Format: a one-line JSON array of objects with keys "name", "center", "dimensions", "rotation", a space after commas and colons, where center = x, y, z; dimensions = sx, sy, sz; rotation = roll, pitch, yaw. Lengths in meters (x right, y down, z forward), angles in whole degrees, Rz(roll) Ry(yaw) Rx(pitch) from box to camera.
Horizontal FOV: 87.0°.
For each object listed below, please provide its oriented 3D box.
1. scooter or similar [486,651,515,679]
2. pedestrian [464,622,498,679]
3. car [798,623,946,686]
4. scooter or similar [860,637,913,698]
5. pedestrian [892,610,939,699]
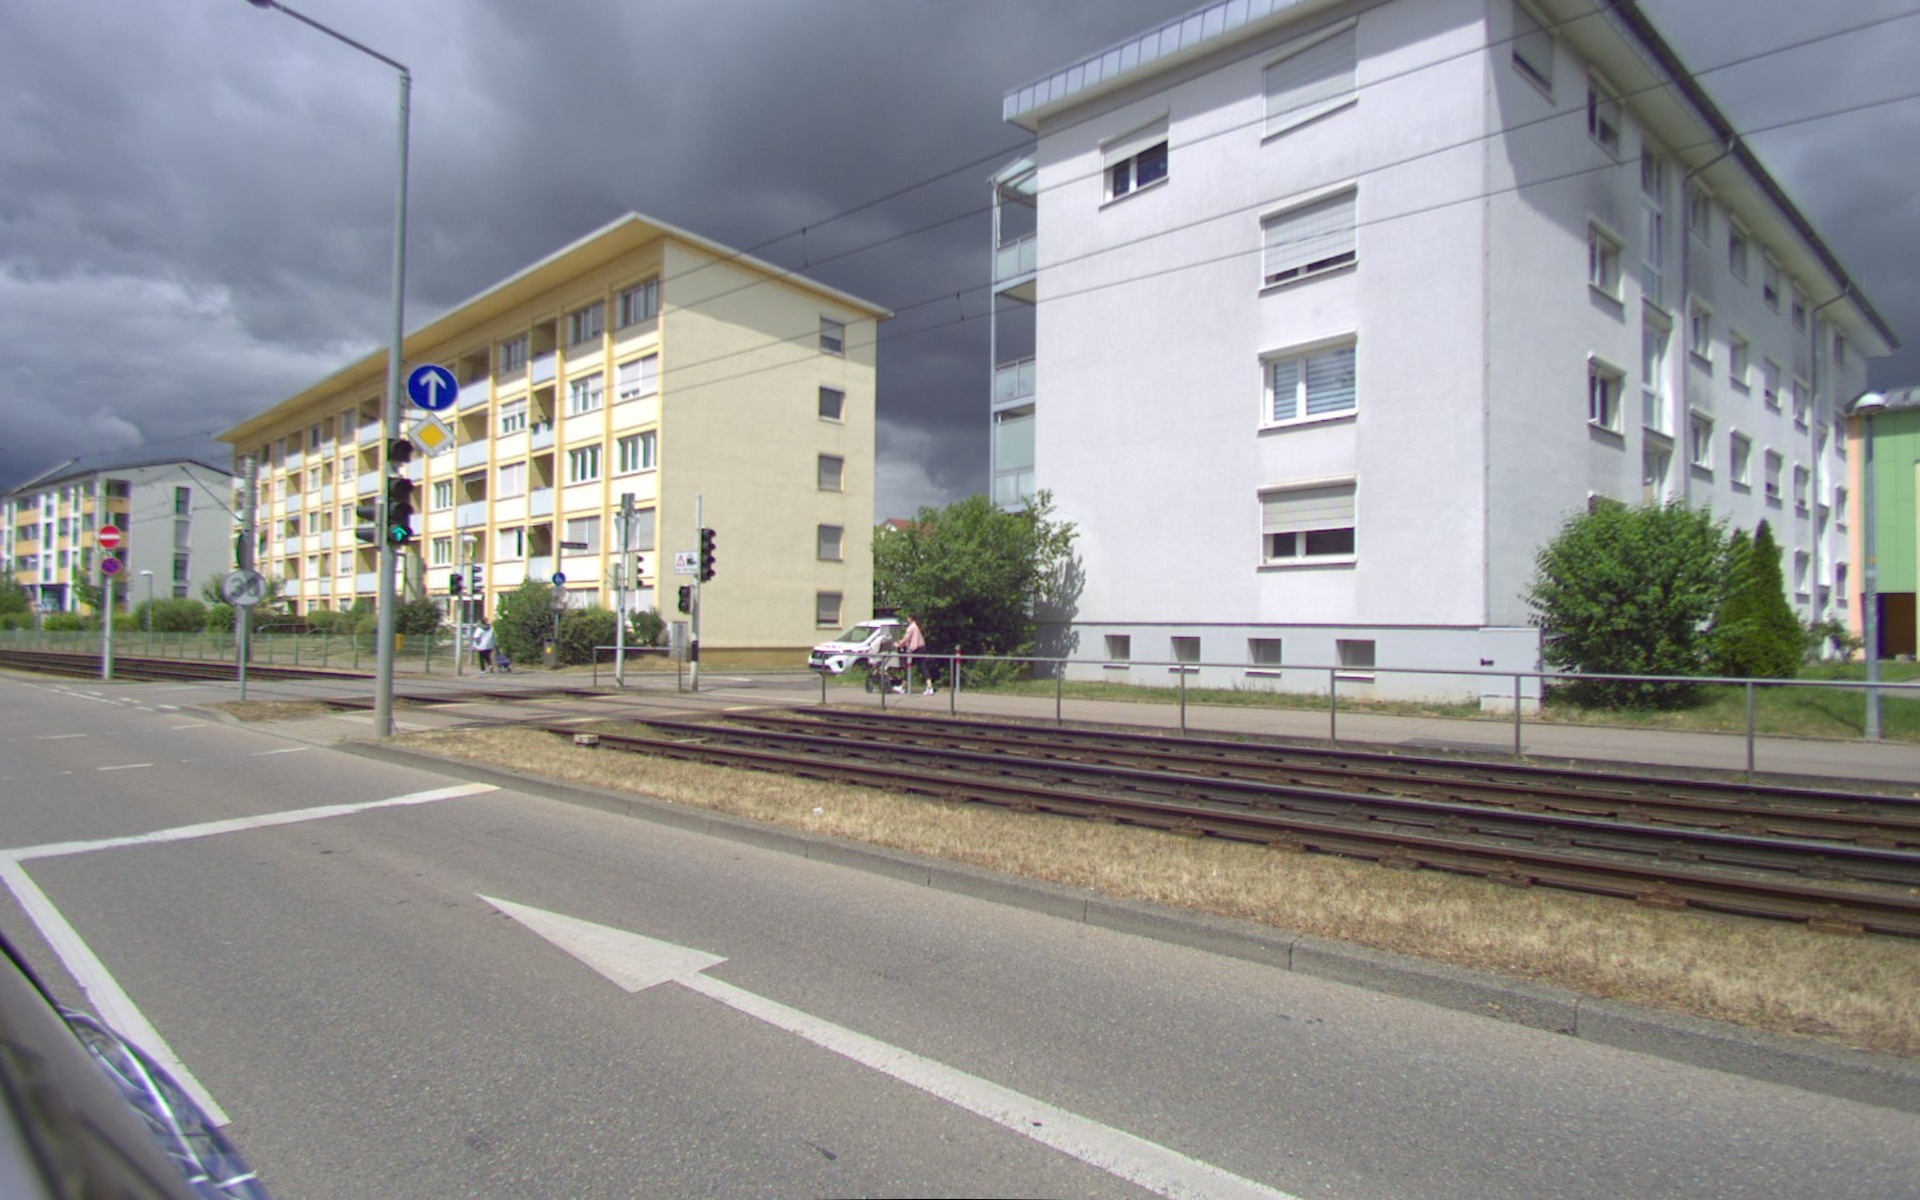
[{"name": "scooter or similar", "center": [-13.560, 1.910, 29.844], "dimensions": [0.665, 0.779, 0.527], "rotation": [-1, -3, 39]}, {"name": "pedestrian", "center": [-13.924, 1.471, 29.419], "dimensions": [0.773, 1.620, 0.598], "rotation": [-1, -3, 39]}, {"name": "car", "center": [-2.576, 1.570, 30.281], "dimensions": [4.227, 1.742, 1.811], "rotation": [2, -2, -44]}, {"name": "scooter or similar", "center": [-1.483, 1.340, 20.392], "dimensions": [0.891, 1.172, 0.602], "rotation": [-1, -2, 41]}, {"name": "pedestrian", "center": [-0.877, 1.054, 19.876], "dimensions": [0.679, 1.705, 0.638], "rotation": [-1, -2, 41]}]
